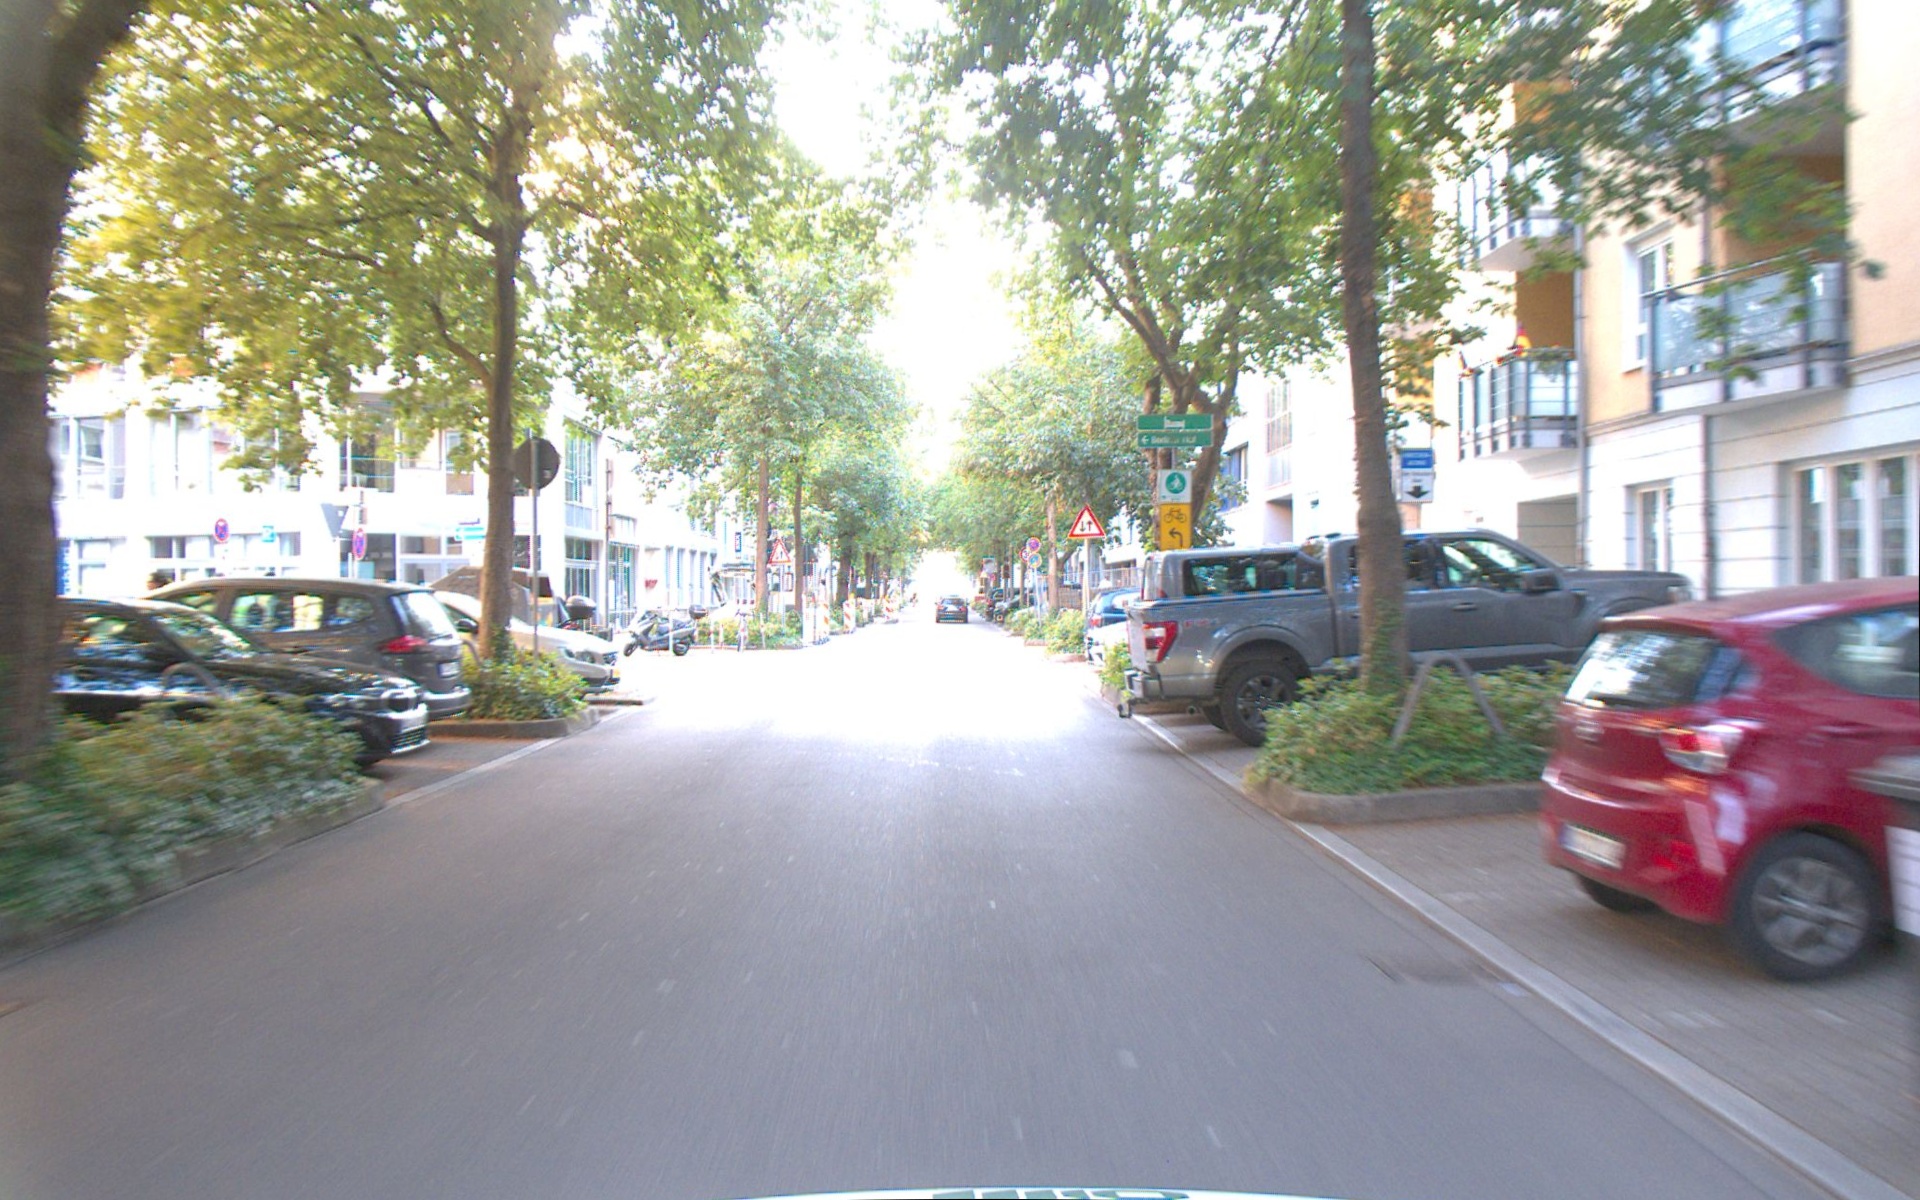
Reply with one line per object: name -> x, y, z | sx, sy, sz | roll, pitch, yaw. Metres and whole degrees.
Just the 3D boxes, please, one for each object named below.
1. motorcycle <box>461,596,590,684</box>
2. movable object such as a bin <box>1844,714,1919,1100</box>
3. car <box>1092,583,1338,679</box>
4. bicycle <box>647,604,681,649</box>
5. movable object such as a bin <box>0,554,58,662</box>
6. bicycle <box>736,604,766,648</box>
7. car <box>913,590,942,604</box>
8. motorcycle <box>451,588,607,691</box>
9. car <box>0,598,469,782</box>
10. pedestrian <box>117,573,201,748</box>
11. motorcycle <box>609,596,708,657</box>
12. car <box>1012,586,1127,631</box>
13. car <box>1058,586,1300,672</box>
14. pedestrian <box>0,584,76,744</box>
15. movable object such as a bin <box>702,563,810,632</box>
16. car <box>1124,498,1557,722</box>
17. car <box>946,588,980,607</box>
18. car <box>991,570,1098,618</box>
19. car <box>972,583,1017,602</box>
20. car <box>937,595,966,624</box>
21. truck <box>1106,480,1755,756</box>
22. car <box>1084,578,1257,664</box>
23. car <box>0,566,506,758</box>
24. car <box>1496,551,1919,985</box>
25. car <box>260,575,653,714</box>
motorcycle -> -7.149, 0.641, 27.173 | 2.176, 1.398, 0.722 | -1, 0, 30
movable object such as a bin -> 3.149, 0.899, 4.881 | 0.759, 1.086, 0.589 | 0, 0, -2
car -> 4.401, 0.515, 28.939 | 3.986, 1.590, 1.852 | 0, 0, -3
bicycle -> -7.947, 0.709, 44.488 | 0.589, 1.137, 1.799 | -1, 1, -1
movable object such as a bin -> -25.425, 0.213, 42.546 | 4.015, 2.680, 1.801 | -1, 0, 24
bicycle -> -5.666, 0.694, 44.845 | 0.589, 1.137, 1.799 | -1, 1, -1
car -> -4.630, -0.468, 233.583 | 3.913, 1.948, 1.774 | 0, 0, -9
motorcycle -> -6.510, 0.584, 25.038 | 2.171, 1.520, 0.691 | -1, 0, 1
car -> -6.828, 0.716, 14.218 | 4.621, 1.449, 2.070 | 0, 0, -3
pedestrian -> -8.561, 0.627, 17.679 | 0.692, 1.819, 0.521 | 0, 0, -41
motorcycle -> -7.482, 0.639, 41.145 | 2.358, 1.466, 0.790 | -1, 0, -41
car -> 4.177, 0.320, 63.625 | 4.345, 1.619, 1.629 | -1, 0, 1
car -> 4.116, 0.519, 31.347 | 4.202, 1.534, 1.867 | 0, 0, -11
pedestrian -> -9.504, 0.645, 16.958 | 0.646, 1.599, 0.448 | -1, 0, 22
movable object such as a bin -> -7.280, -0.110, 59.276 | 3.592, 2.373, 2.582 | -1, 0, -2
car -> 4.373, 0.103, 19.585 | 4.527, 2.170, 2.036 | -4, 0, -1
car -> 0.352, -0.293, 191.768 | 3.904, 2.049, 2.000 | -1, 0, 1
car -> 3.932, -0.277, 77.200 | 4.870, 2.124, 1.738 | -1, 0, -1
car -> 3.069, -0.647, 147.753 | 3.908, 1.625, 1.998 | 0, 0, -4
car -> -0.449, 0.485, 87.827 | 1.470, 1.441, 3.713 | -1, 0, -1
truck -> 4.608, 0.159, 16.957 | 5.883, 2.169, 2.260 | -5, 0, -1
car -> 4.273, 0.416, 33.950 | 3.282, 1.552, 1.746 | -3, 0, 0
car -> -6.949, 0.575, 16.440 | 4.308, 1.714, 2.063 | 1, 0, -3
car -> 4.493, 0.558, 7.257 | 3.592, 1.575, 1.779 | -4, -1, -3
car -> -6.394, 0.549, 21.419 | 4.406, 1.609, 2.055 | 1, 0, 0
